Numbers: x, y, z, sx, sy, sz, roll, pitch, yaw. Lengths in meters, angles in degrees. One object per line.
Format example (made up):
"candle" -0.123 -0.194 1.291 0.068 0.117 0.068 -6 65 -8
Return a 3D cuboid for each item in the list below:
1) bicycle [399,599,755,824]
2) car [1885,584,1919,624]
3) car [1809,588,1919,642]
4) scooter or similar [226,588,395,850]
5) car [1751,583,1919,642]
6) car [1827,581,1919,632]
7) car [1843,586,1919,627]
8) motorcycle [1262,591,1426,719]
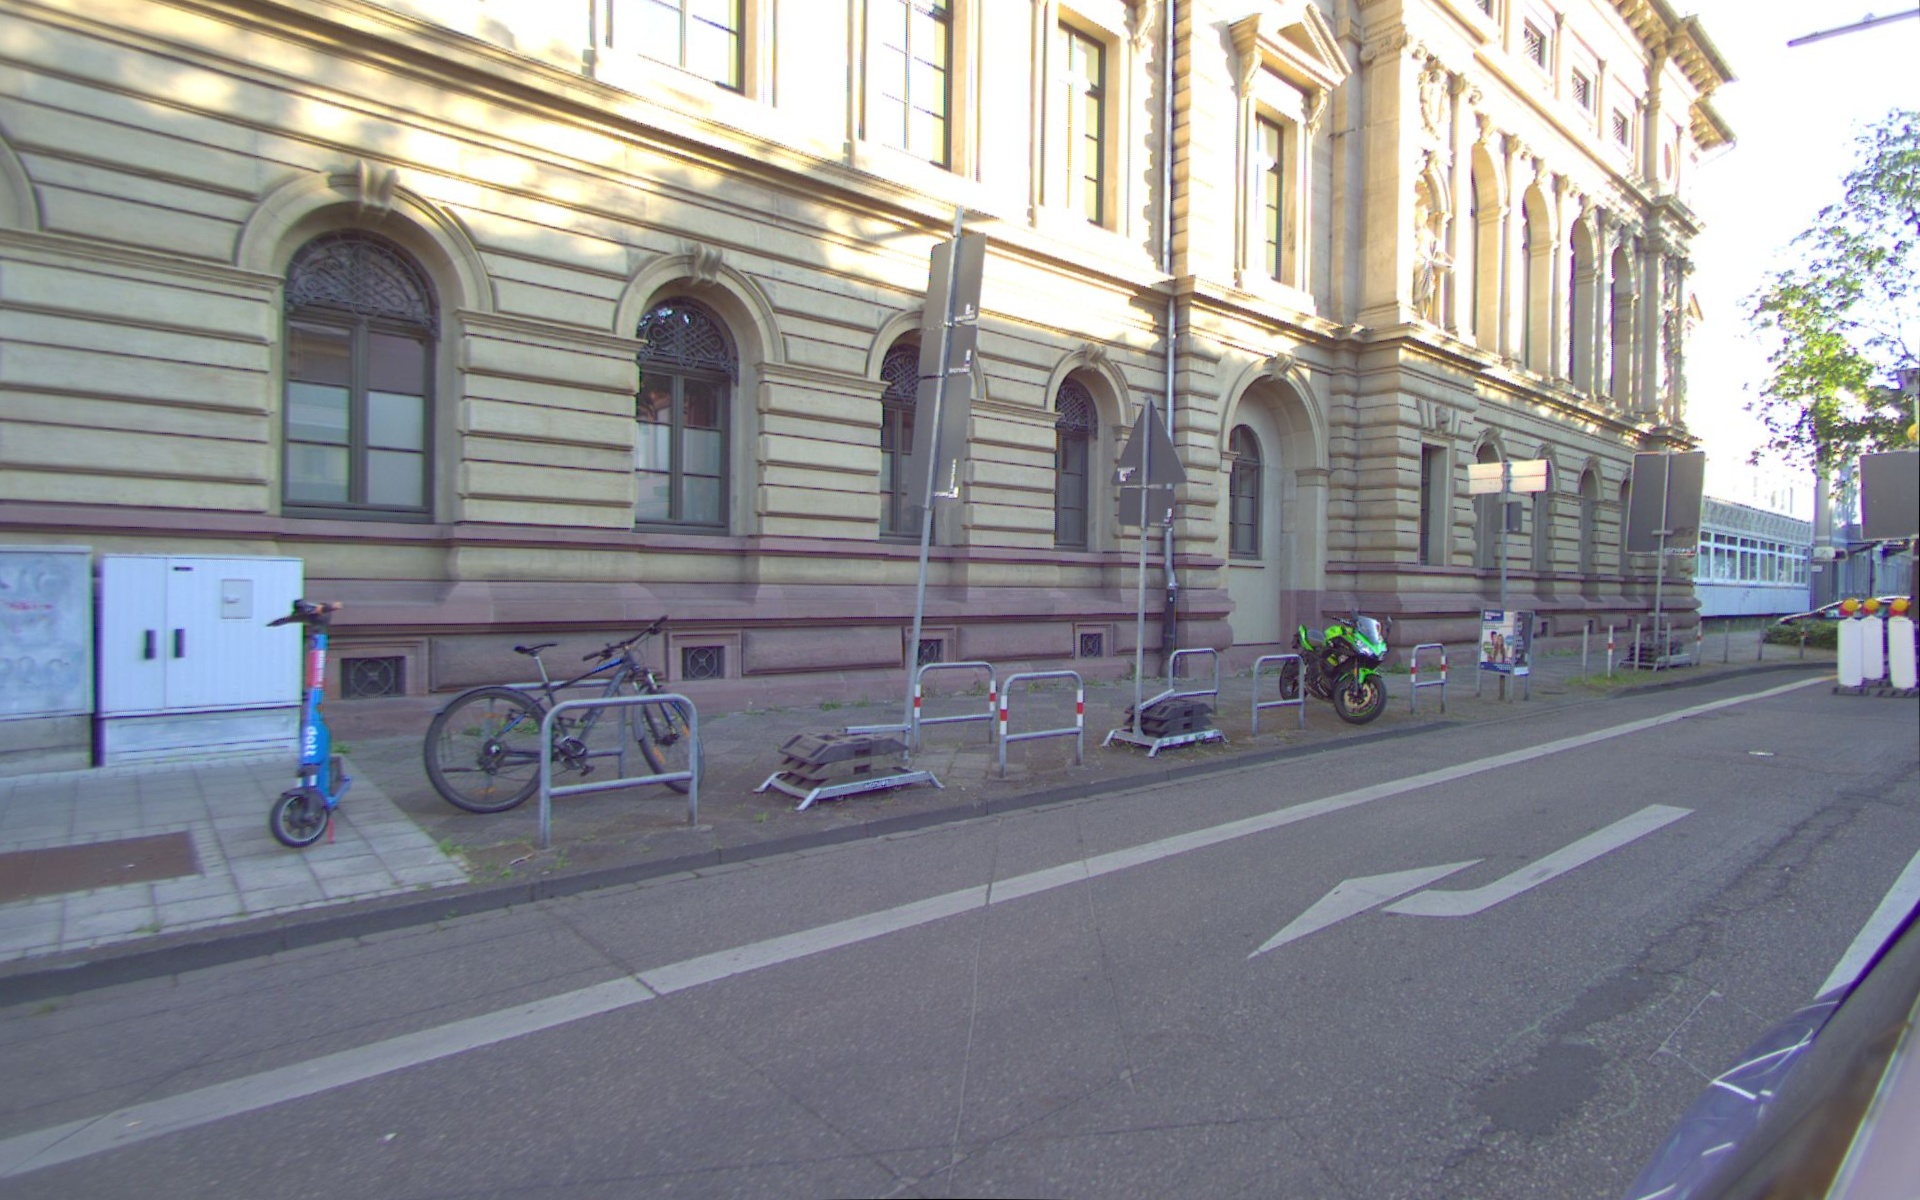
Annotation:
"bicycle" -2.359 0.599 6.359 1.910 1.148 0.829 0 4 -41
"car" 42.466 0.256 43.095 1.704 1.644 4.364 0 3 -43
"car" 29.677 0.501 31.758 1.643 1.513 4.367 0 4 -40
"scooter or similar" -3.480 0.573 5.507 0.571 1.210 1.137 1 3 -22
"car" 27.056 0.352 30.861 1.804 1.482 4.362 -1 4 -44
"car" 34.141 0.267 36.319 2.020 1.662 4.364 0 4 -43
"car" 38.292 0.294 40.408 1.855 1.511 4.364 0 3 -43
"motorcycle" 4.326 0.576 11.607 0.695 1.229 2.109 1 3 -11
